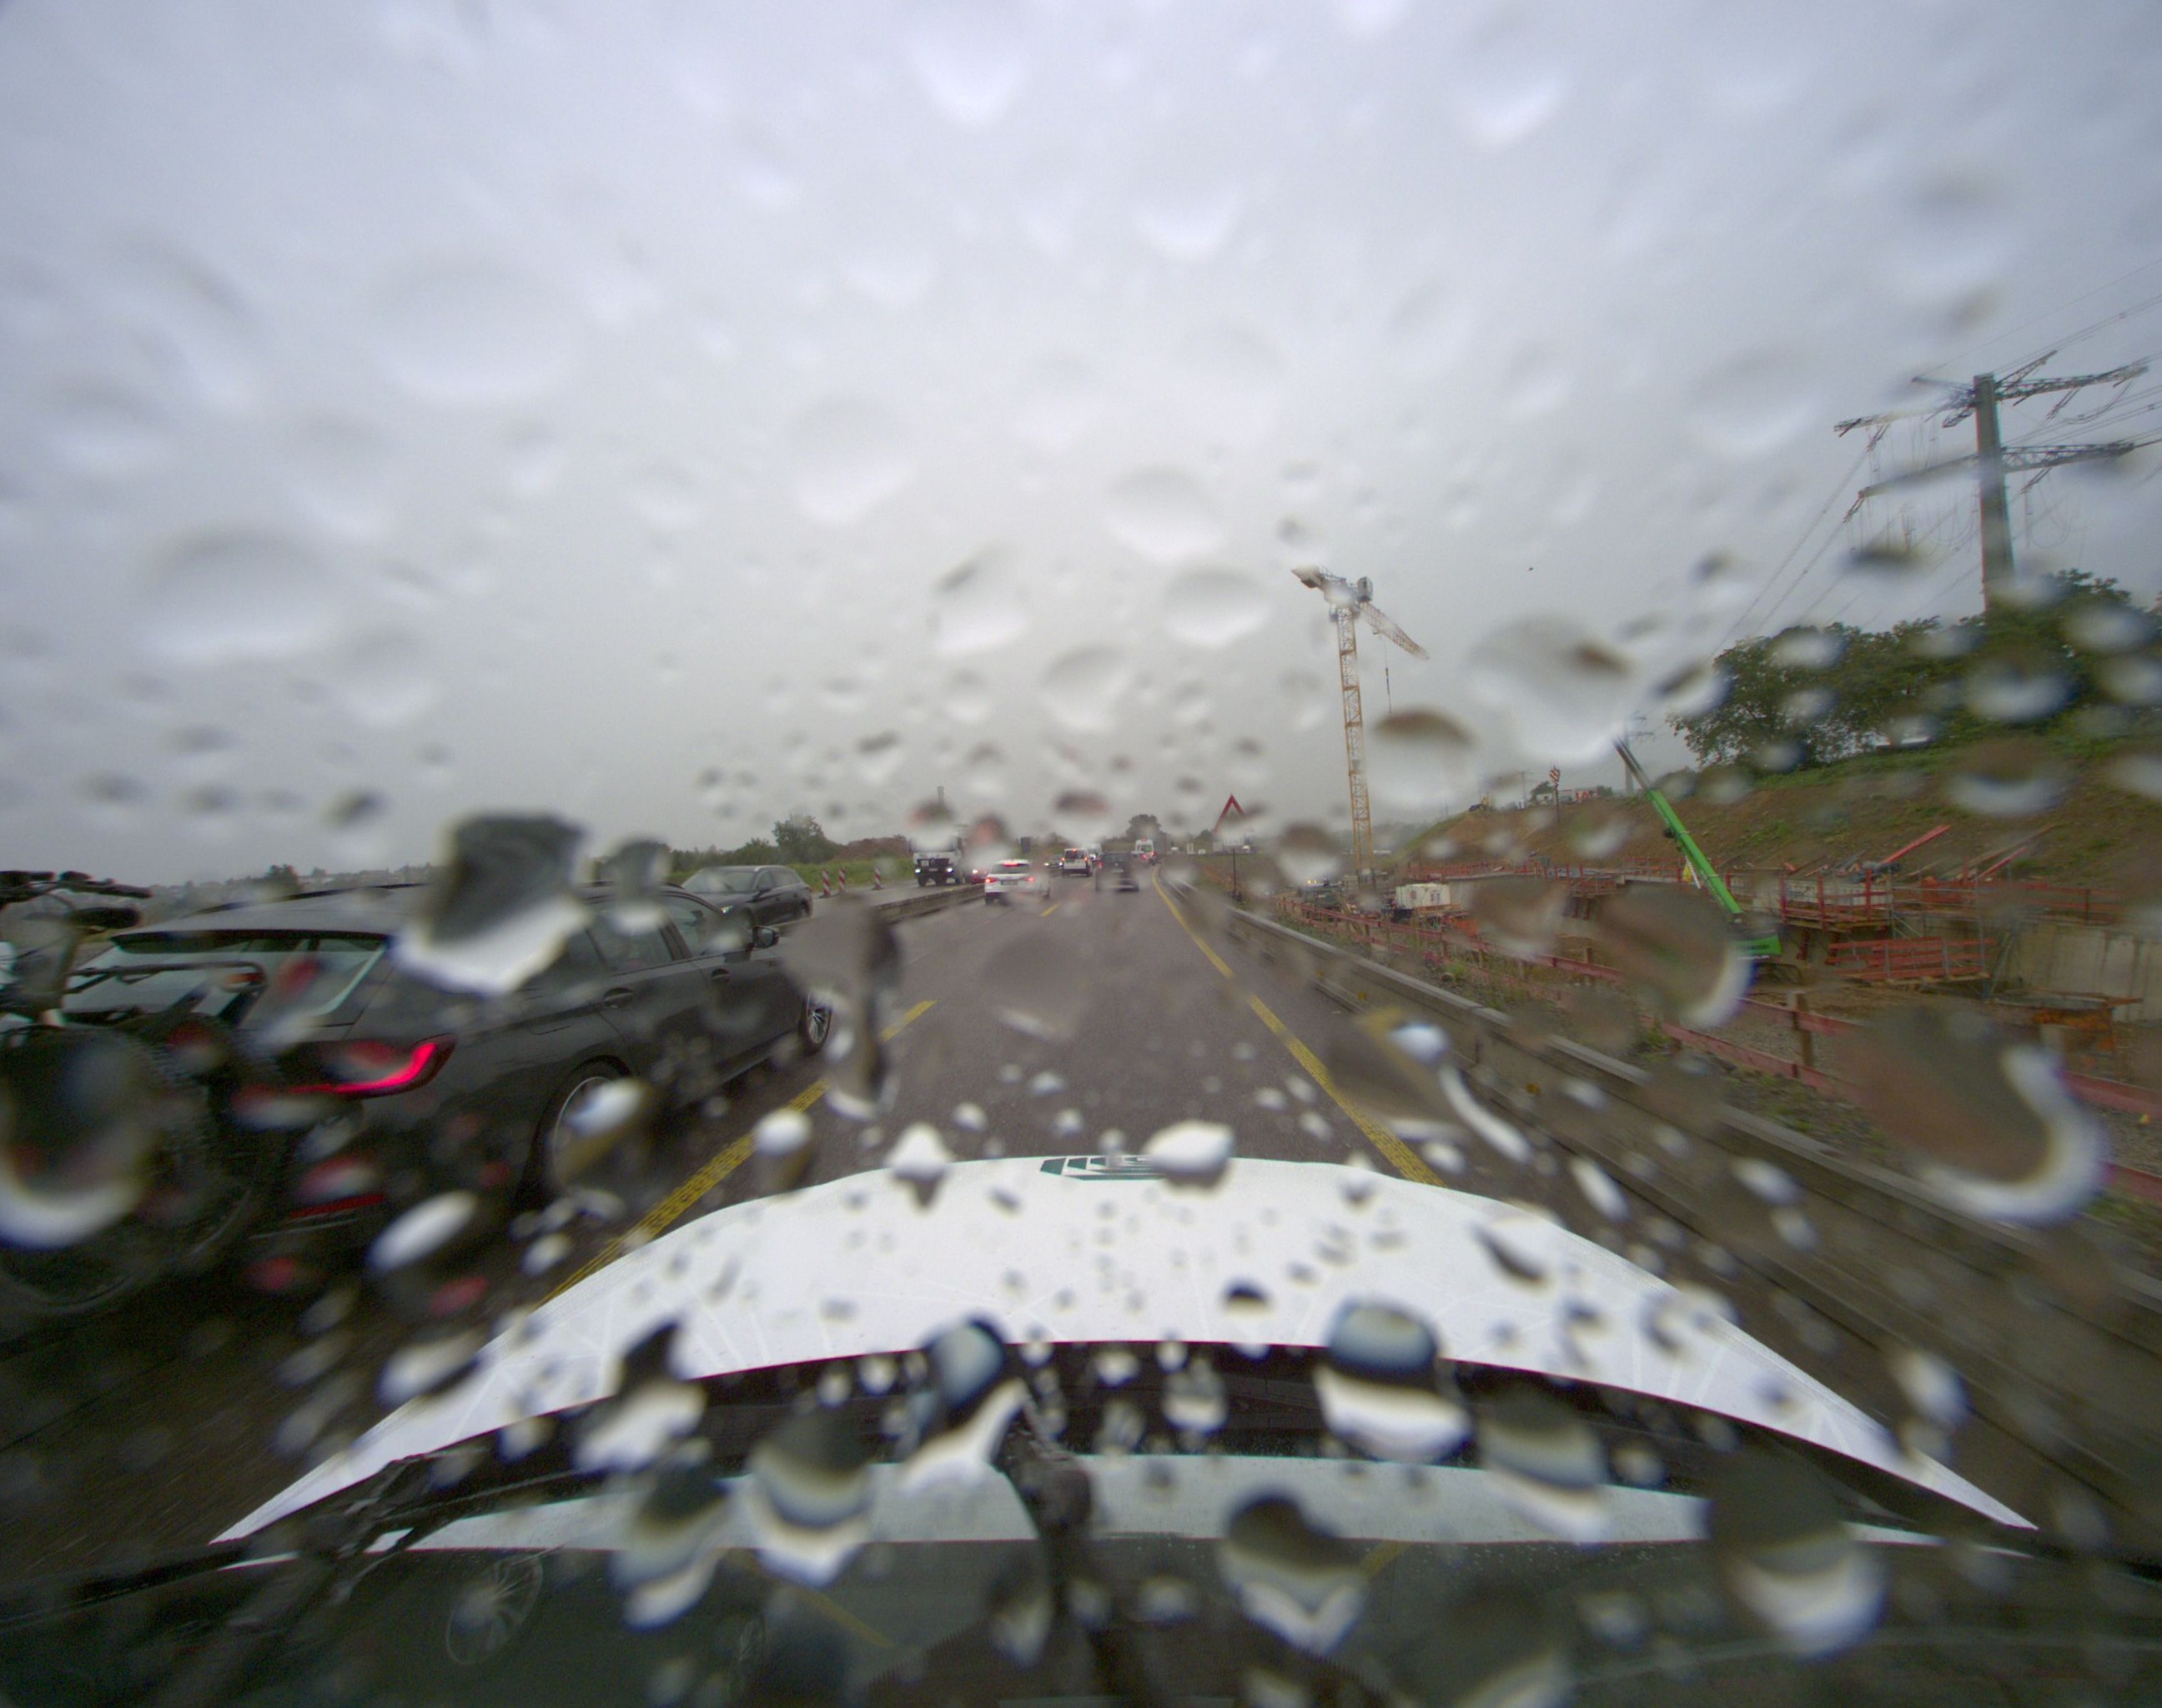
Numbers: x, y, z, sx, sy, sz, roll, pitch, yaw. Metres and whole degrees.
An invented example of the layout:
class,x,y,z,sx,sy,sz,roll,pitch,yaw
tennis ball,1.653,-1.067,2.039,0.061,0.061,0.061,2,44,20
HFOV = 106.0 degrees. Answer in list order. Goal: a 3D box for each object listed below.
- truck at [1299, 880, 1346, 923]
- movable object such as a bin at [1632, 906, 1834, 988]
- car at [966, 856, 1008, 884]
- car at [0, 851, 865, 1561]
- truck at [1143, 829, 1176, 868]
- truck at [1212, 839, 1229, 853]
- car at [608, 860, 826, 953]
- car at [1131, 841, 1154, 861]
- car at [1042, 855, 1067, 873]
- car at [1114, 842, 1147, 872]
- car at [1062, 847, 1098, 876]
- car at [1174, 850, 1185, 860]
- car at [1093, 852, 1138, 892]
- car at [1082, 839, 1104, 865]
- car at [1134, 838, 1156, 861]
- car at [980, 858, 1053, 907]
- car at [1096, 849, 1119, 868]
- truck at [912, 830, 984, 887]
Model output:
class,x,y,z,sx,sy,sz,roll,pitch,yaw
truck,22.102,4.266,74.988,2.685,3.503,8.966,-1,-1,7
movable object such as a bin,24.638,3.500,31.168,3.776,2.805,4.857,-2,-5,3
car,-4.880,0.835,42.837,1.631,1.396,3.595,0,0,3
car,-2.925,0.796,4.638,1.728,1.462,5.631,-1,2,1
truck,10.869,-0.706,111.951,3.521,5.077,10.471,-1,-1,10
truck,39.839,-2.245,232.188,3.444,3.715,8.457,-2,0,18
car,-6.558,0.863,15.349,1.818,1.443,4.700,-1,-1,2
car,5.729,-0.243,74.963,1.816,1.815,4.009,-1,-1,8
car,-2.337,0.885,72.961,1.740,1.495,4.754,-1,0,3
car,3.173,0.181,51.938,1.816,1.815,4.008,-1,-1,7
car,-0.046,0.497,53.444,1.816,1.815,4.008,-1,-1,8
car,22.358,0.180,184.296,2.020,2.113,4.173,-1,-1,13
car,1.521,0.739,34.885,1.818,1.591,4.004,0,-1,4
car,1.515,-0.207,99.434,1.983,3.045,7.183,0,0,6
car,7.029,-0.465,89.114,1.814,2.437,4.171,-1,-1,12
car,-2.069,0.909,27.200,1.818,1.499,4.005,0,-1,4
car,2.656,0.459,80.541,1.816,1.815,4.009,-1,-1,8
truck,-7.432,0.232,46.381,2.347,2.894,6.558,-2,0,5
